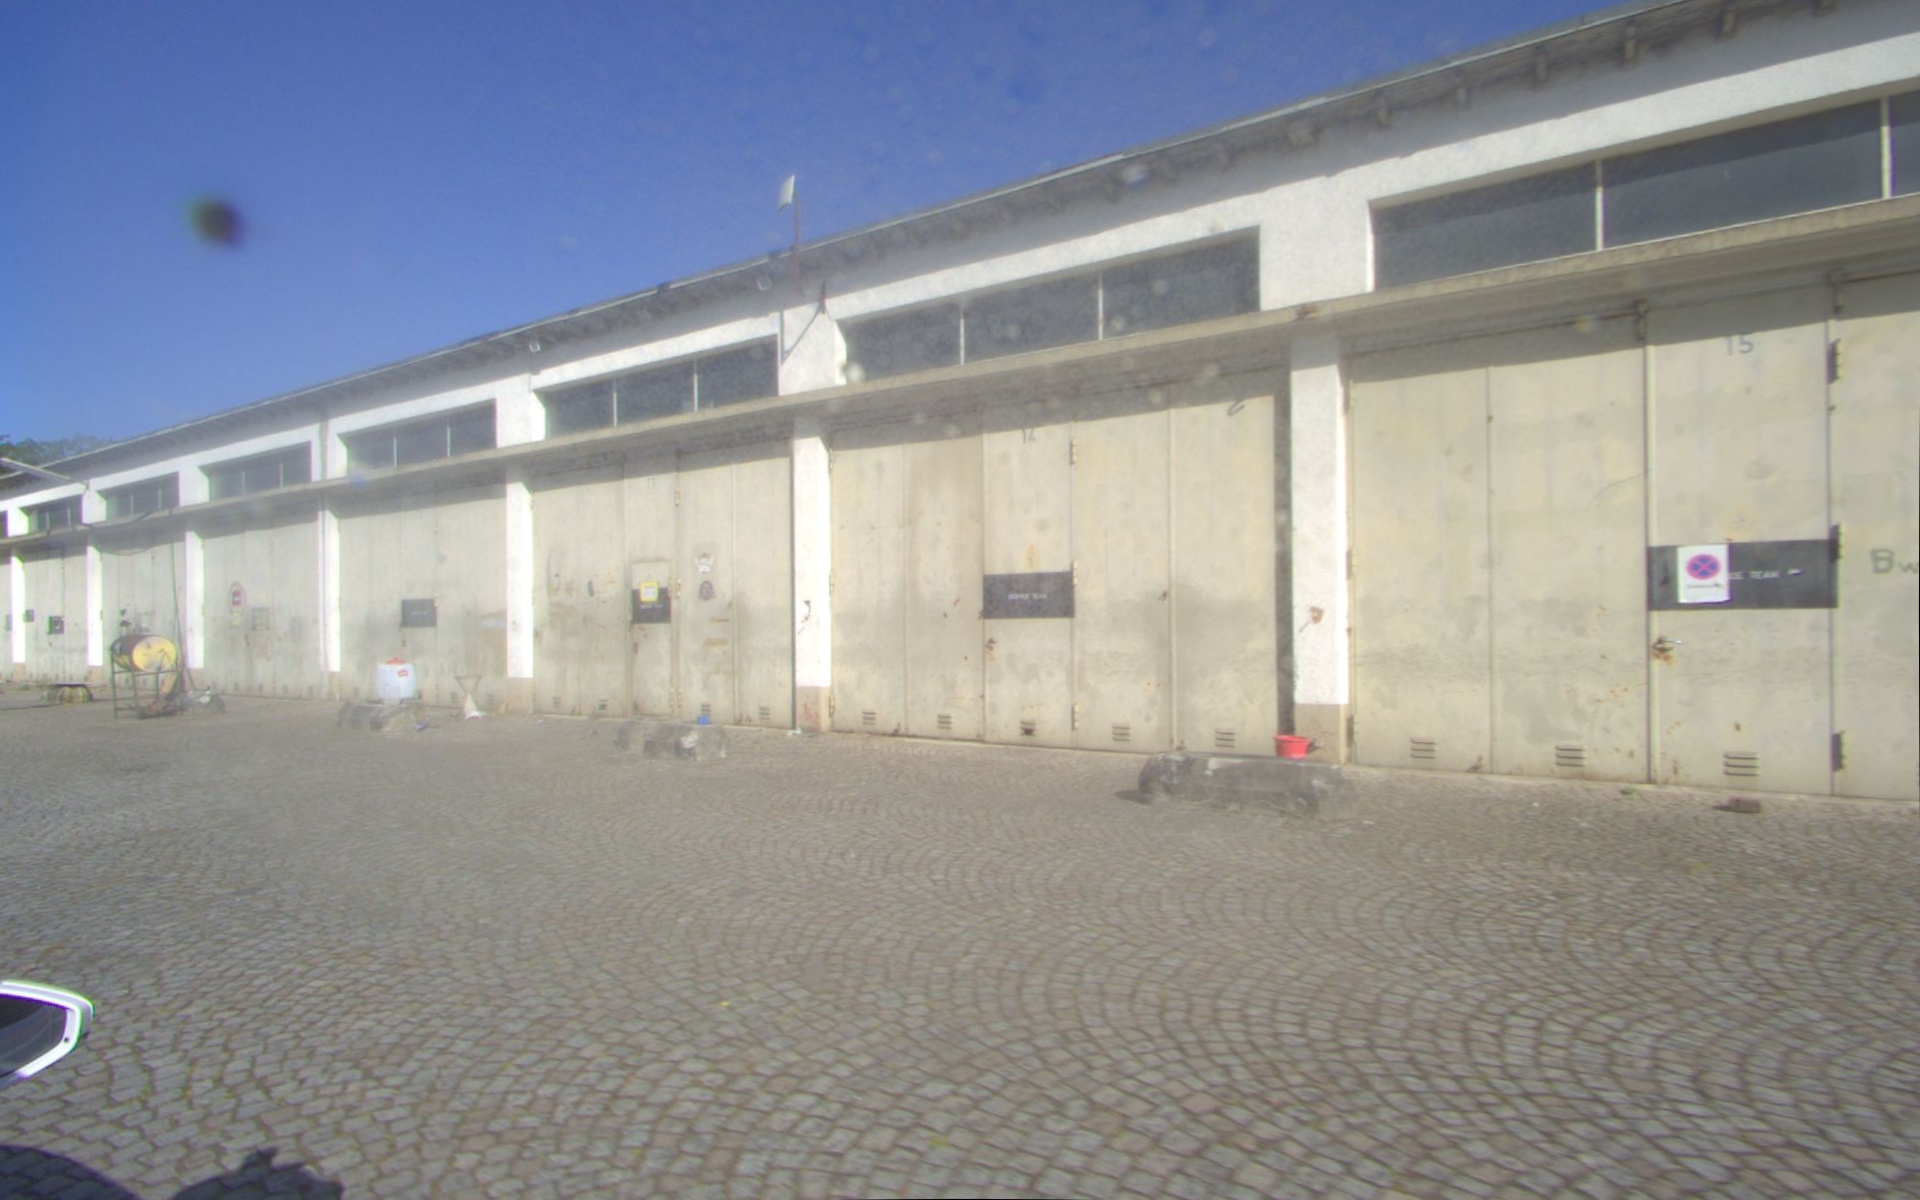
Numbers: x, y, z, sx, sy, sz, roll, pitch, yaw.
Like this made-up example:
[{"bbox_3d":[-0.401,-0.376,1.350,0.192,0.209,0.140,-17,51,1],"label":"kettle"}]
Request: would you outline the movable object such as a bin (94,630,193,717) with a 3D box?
[{"bbox_3d":[-13.266,1.162,16.273,1.260,1.349,0.823,-1,-1,28],"label":"movable object such as a bin"}]
